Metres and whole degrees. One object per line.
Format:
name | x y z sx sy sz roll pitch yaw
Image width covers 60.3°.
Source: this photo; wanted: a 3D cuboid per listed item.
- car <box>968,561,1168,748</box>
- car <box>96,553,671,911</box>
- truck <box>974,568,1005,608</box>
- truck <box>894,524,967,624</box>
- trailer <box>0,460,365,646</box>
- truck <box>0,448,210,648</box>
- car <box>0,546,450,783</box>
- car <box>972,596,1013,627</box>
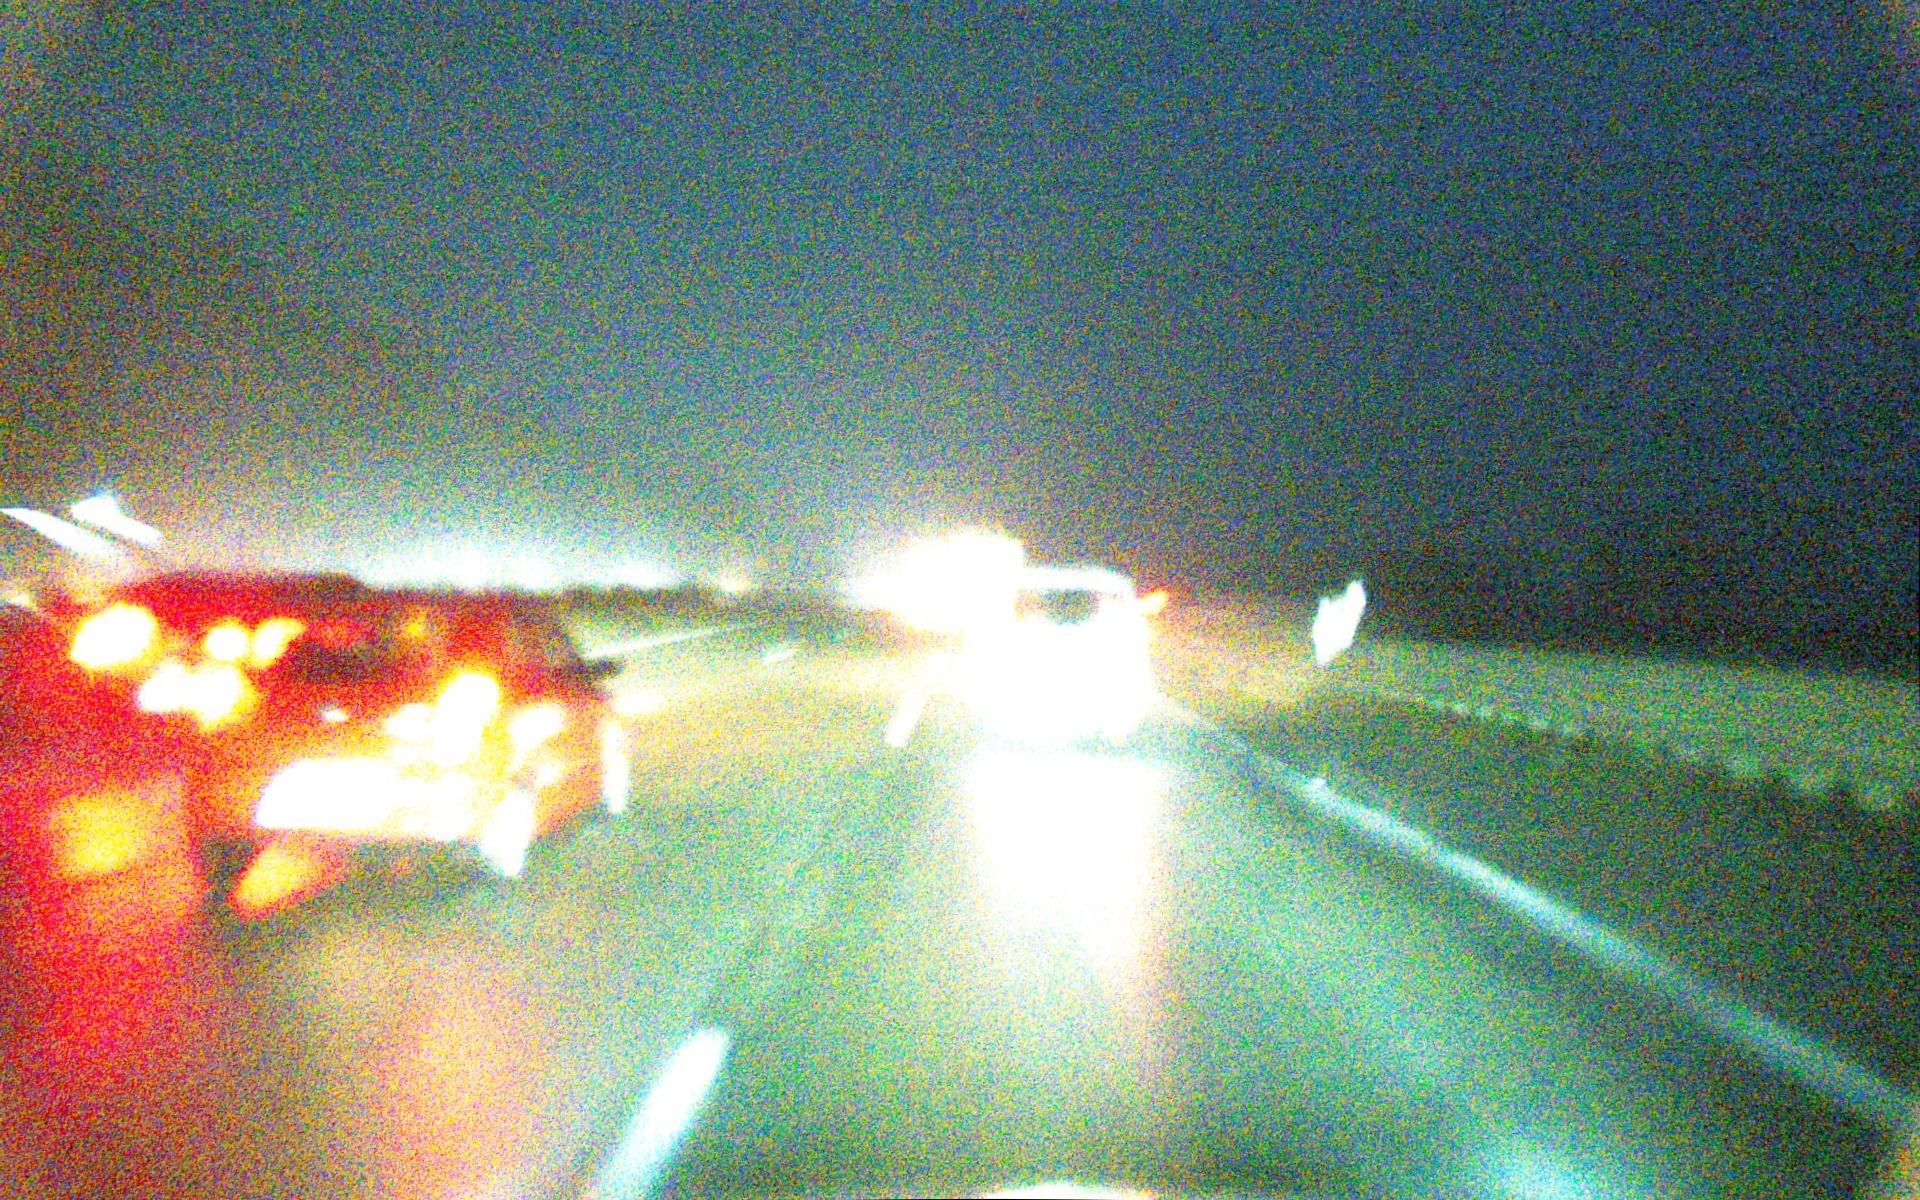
car | 1.083 0.559 18.895 1.913 1.823 5.123 1 -1 0
car | -3.027 0.629 9.749 1.876 1.622 4.233 1 -1 0
truck | 3.880 -1.561 218.115 3.746 5.001 11.604 1 -1 0
truck | -1.716 -1.447 101.038 4.082 5.641 13.072 1 -1 0
trailer | -22.439 -1.152 49.326 4.081 4.705 13.958 1 -1 1
truck | -22.550 -1.222 42.112 4.081 4.705 5.846 1 -1 1
car | -6.477 0.518 15.259 1.952 1.808 4.887 1 -1 1
car | 1.603 0.585 83.597 1.852 1.377 3.999 5 0 -1
